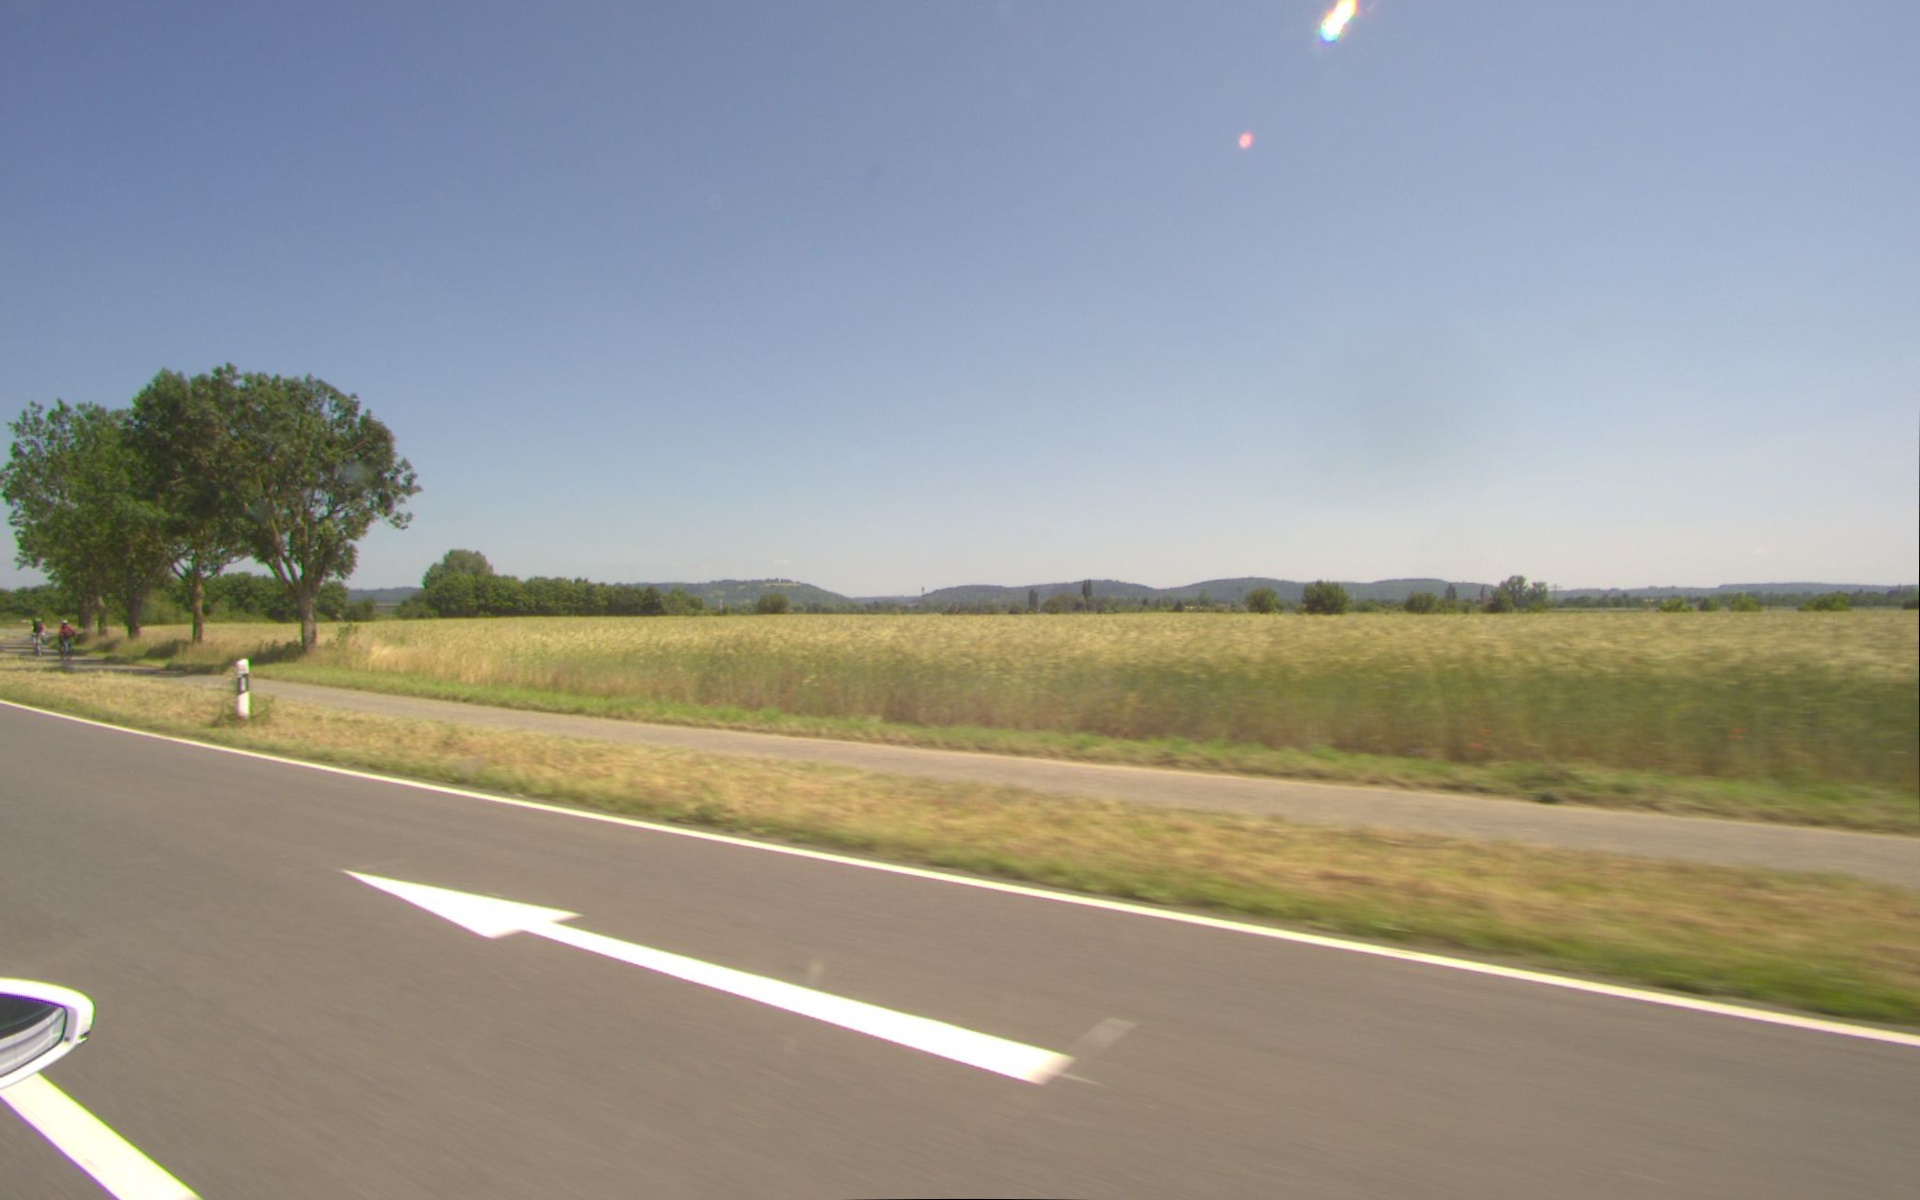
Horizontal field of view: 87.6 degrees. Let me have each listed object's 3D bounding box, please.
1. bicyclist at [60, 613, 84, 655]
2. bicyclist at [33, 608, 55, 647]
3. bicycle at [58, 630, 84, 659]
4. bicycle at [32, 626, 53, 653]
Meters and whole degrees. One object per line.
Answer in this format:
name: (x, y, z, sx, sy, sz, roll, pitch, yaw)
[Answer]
bicyclist: (-39.402, 1.524, 44.435, 0.967, 1.804, 0.625, 1, -4, 44)
bicyclist: (-42.605, 1.266, 46.573, 0.583, 1.755, 1.161, 6, -4, -41)
bicycle: (-39.417, 1.970, 44.373, 2.030, 1.225, 0.695, -1, -4, 45)
bicycle: (-42.655, 1.818, 46.578, 0.601, 1.191, 2.033, 5, -4, -41)
